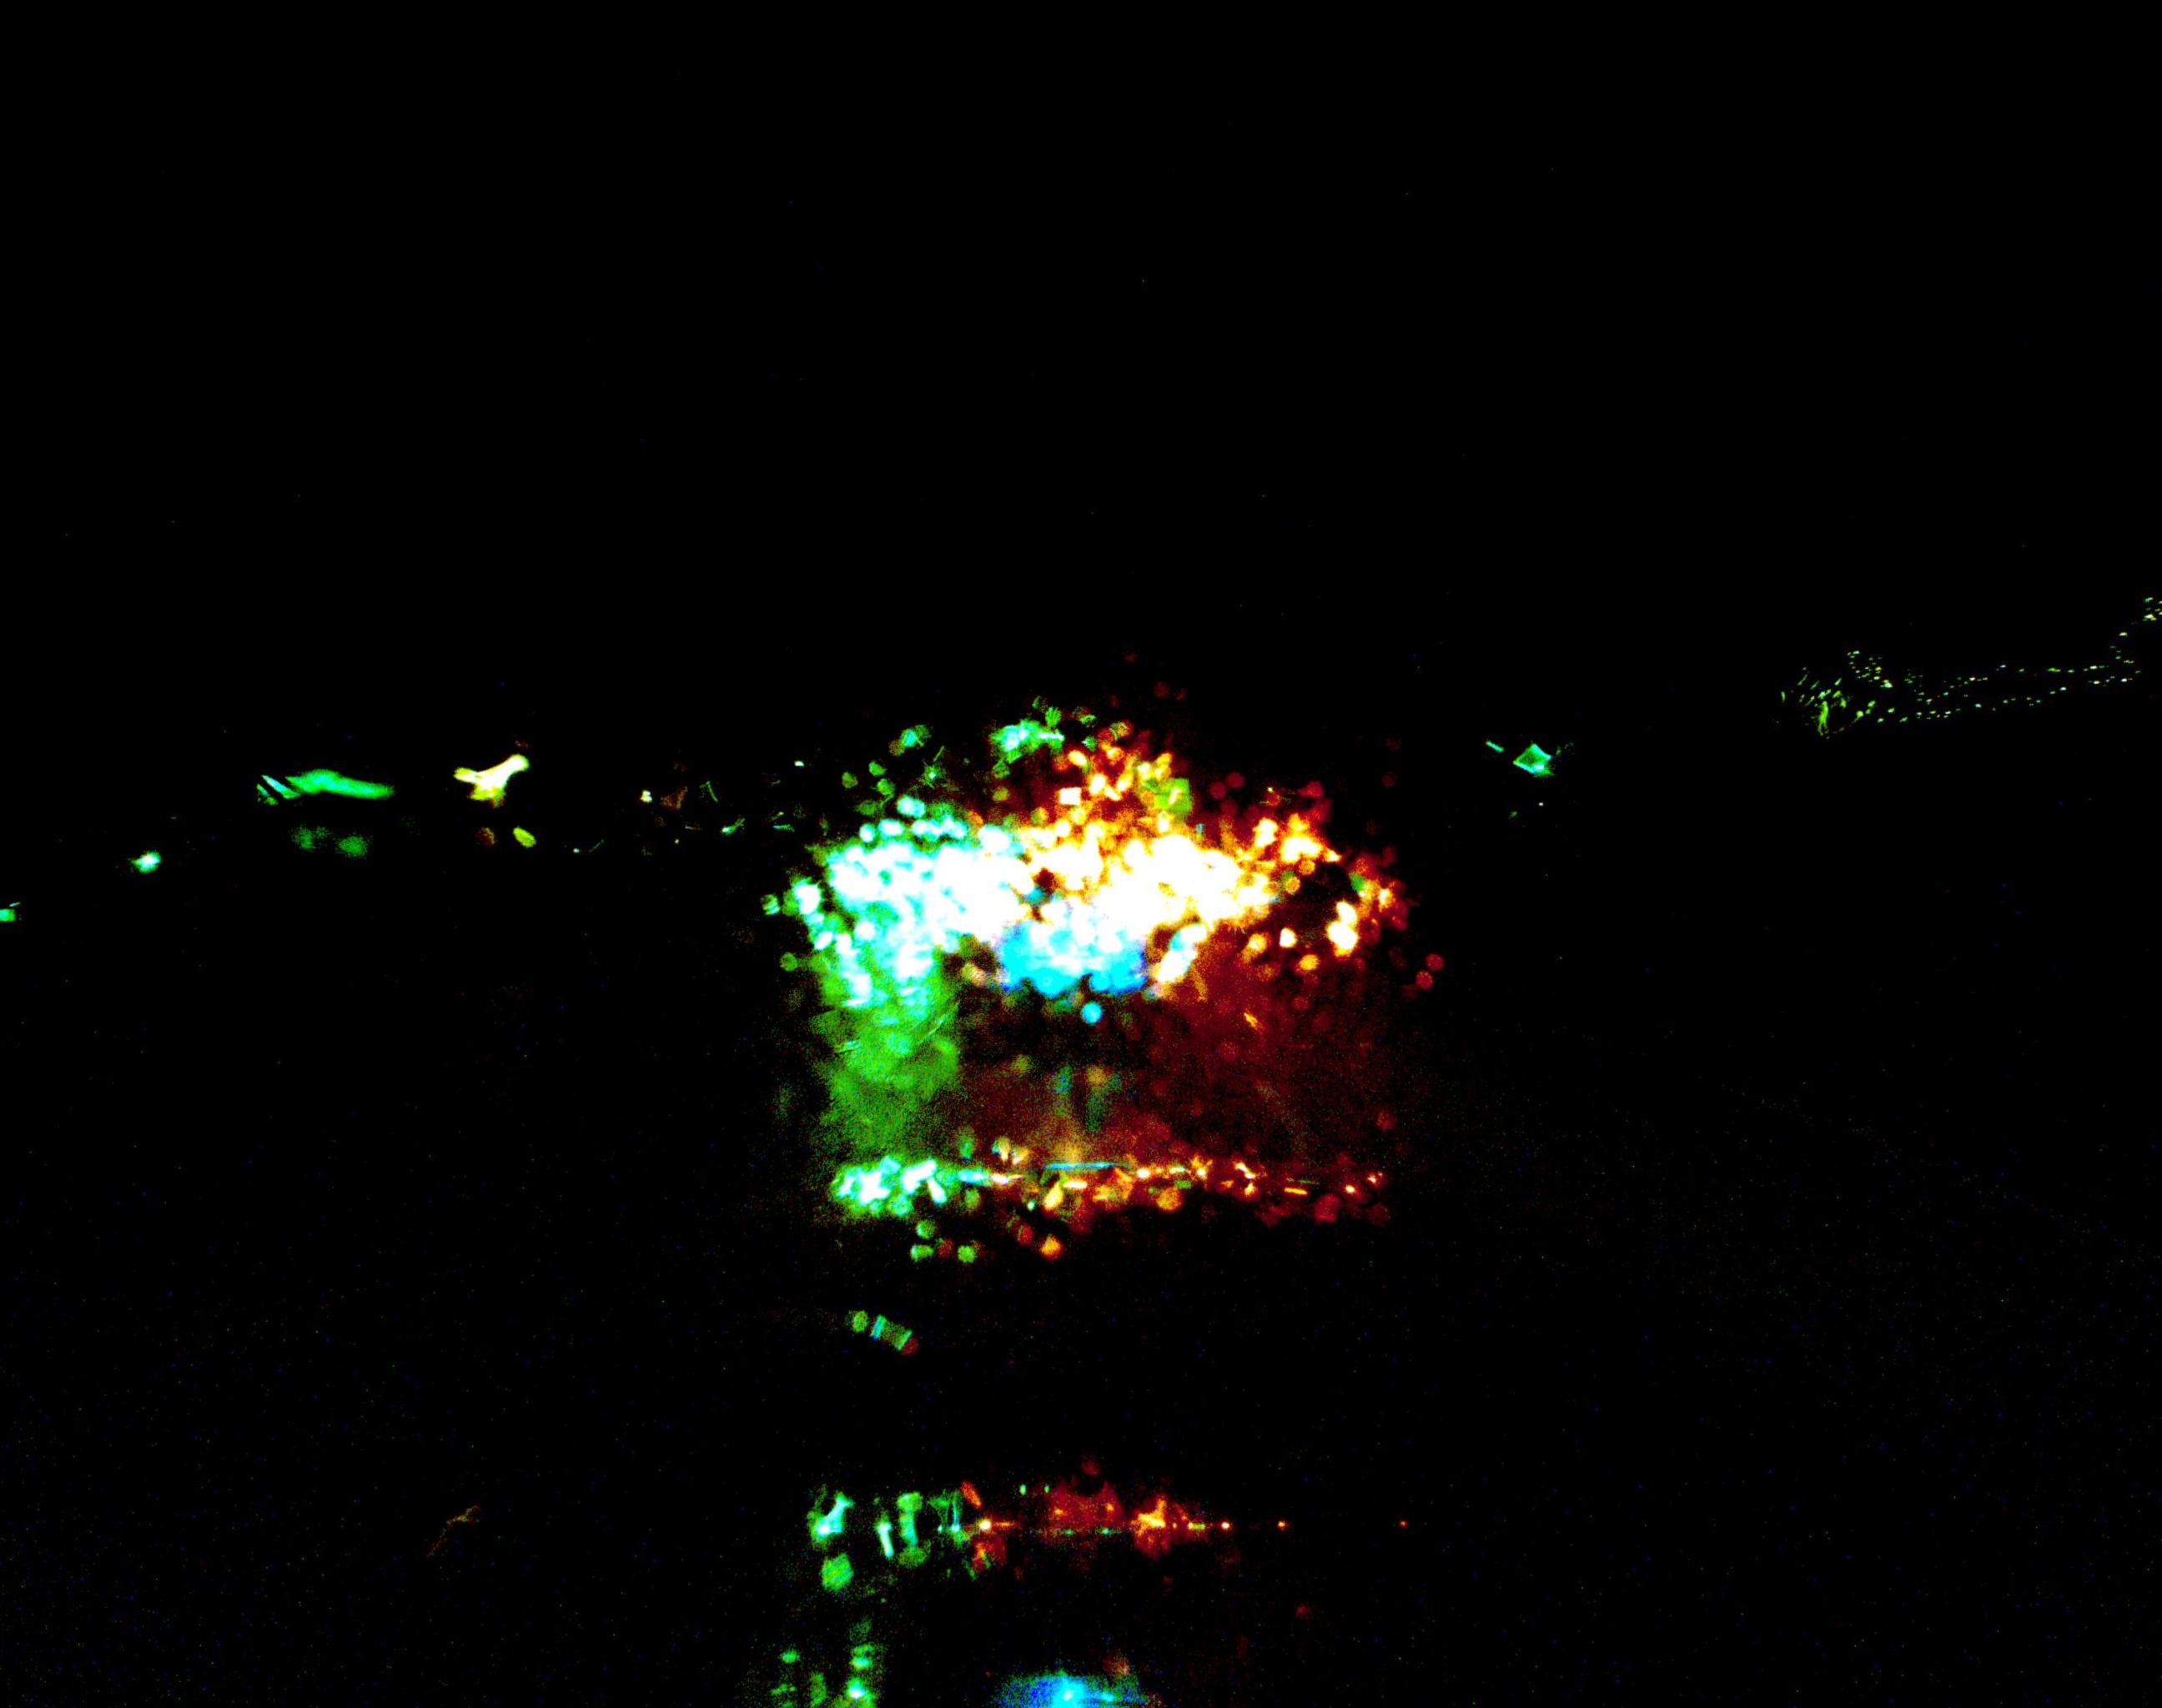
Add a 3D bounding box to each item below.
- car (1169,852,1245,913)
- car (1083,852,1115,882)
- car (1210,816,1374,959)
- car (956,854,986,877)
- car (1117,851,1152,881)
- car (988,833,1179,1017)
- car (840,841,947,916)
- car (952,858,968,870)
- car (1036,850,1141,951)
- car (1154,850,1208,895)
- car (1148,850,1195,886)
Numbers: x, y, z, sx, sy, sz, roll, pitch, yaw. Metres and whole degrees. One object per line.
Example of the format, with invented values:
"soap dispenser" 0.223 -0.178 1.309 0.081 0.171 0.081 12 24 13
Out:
"car" 3.331 0.694 22.171 1.759 1.450 4.224 -1 0 5
"car" 1.046 0.760 49.941 1.704 1.638 3.728 -3 0 -2
"car" 3.278 0.455 13.501 1.933 1.972 4.224 -1 0 5
"car" -7.304 0.762 54.253 1.717 1.442 3.733 -1 0 -5
"car" 2.734 0.601 42.511 1.657 1.450 4.051 -1 -1 1
"car" 0.083 0.648 9.198 1.688 1.630 3.854 -1 0 2
"car" -5.278 0.628 23.612 1.987 1.912 4.741 -1 0 -1
"car" -15.106 1.193 101.750 1.717 1.442 3.733 -1 0 -5
"car" 0.204 0.775 15.698 1.702 1.638 3.732 -2 0 2
"car" 3.501 0.621 28.989 1.656 1.450 4.054 -2 -1 4
"car" 3.880 0.573 35.482 1.657 1.450 4.051 -1 0 1
